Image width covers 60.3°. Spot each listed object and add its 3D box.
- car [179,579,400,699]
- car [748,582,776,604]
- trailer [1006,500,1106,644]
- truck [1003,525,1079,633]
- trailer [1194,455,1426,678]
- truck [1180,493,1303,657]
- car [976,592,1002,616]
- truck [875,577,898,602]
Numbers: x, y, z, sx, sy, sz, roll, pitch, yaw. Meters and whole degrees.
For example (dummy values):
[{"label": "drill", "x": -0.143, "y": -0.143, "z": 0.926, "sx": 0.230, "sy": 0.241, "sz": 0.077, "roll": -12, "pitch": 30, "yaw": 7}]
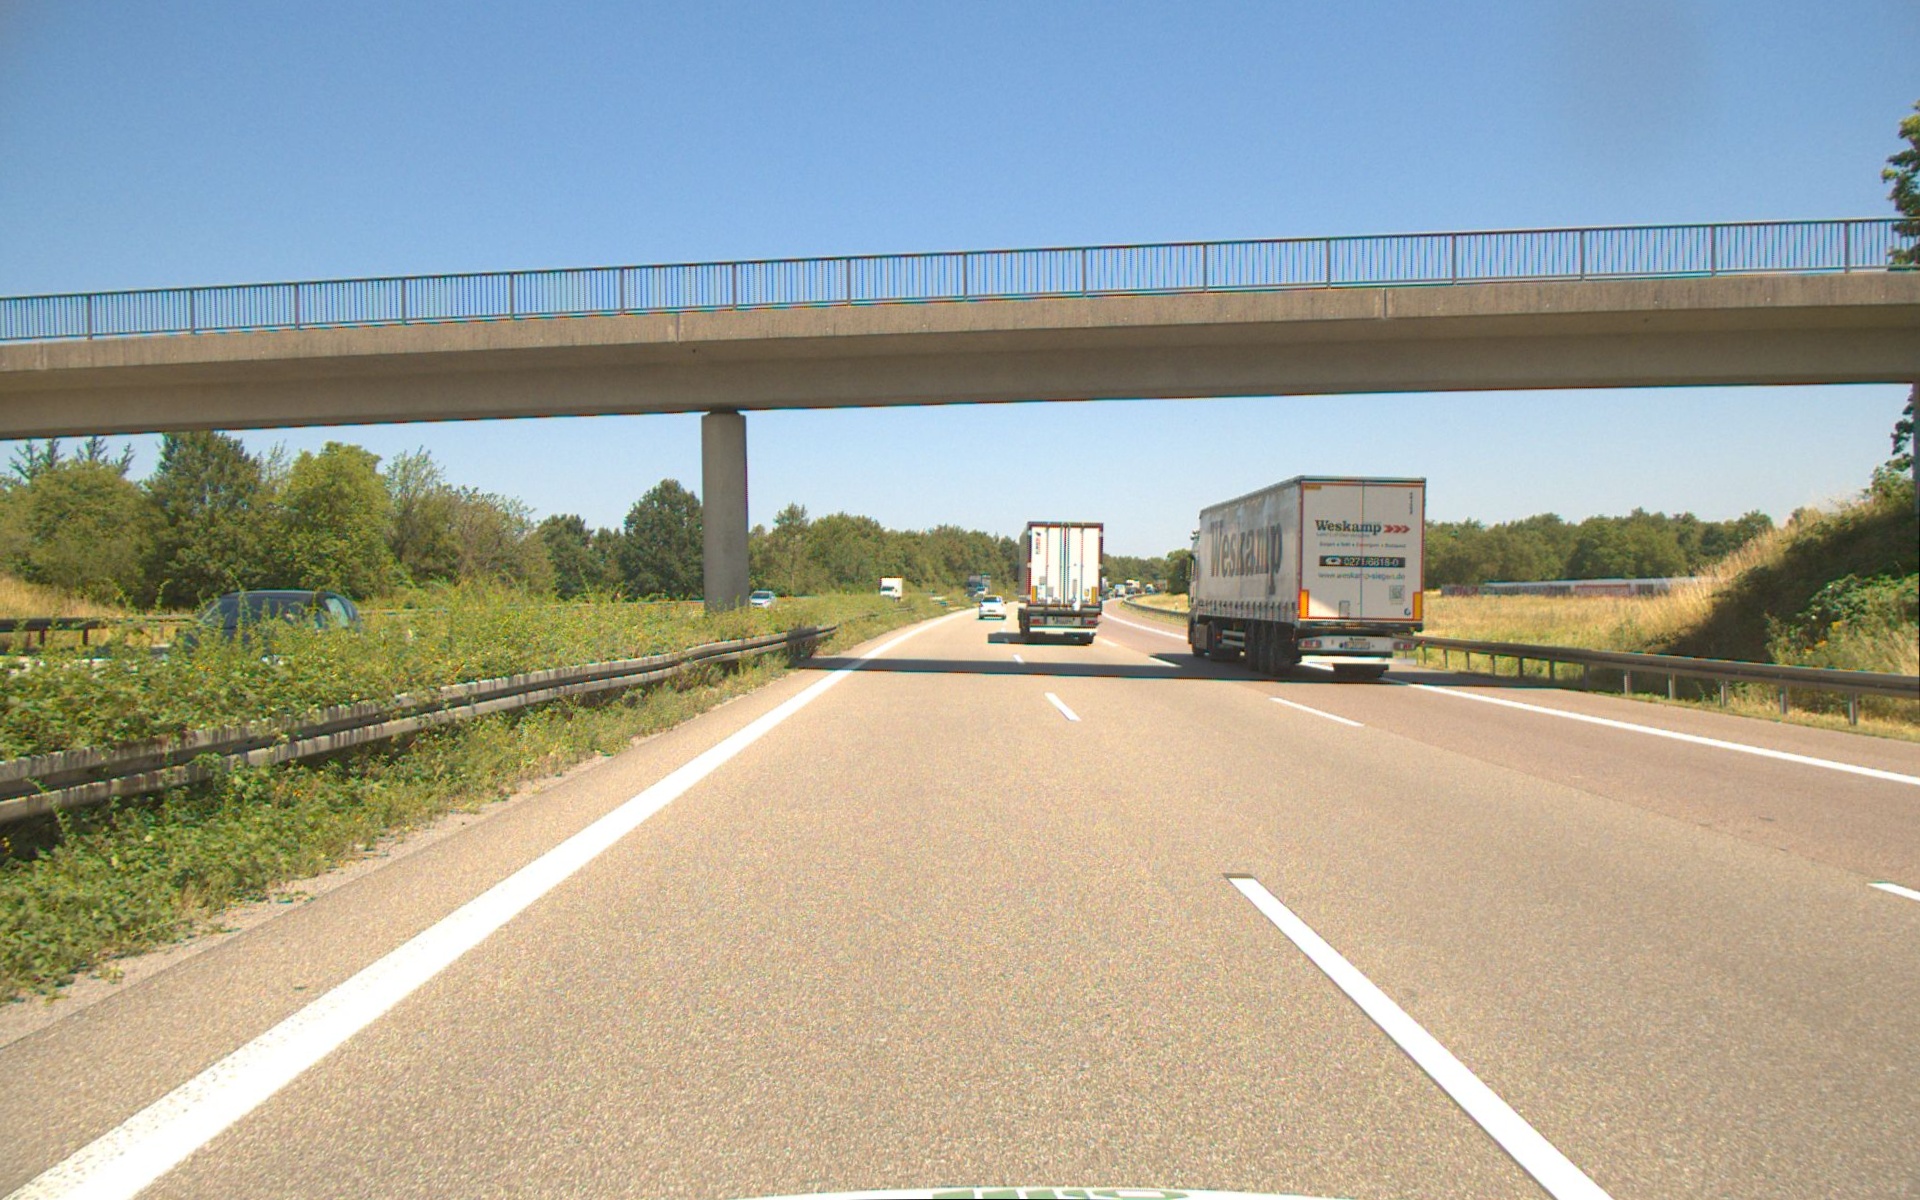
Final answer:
[{"label": "car", "x": -9.692, "y": 0.521, "z": 24.236, "sx": 1.676, "sy": 1.601, "sz": 3.999, "roll": 0, "pitch": 0, "yaw": -1}, {"label": "car", "x": -14.756, "y": -0.479, "z": 123.518, "sx": 1.676, "sy": 1.601, "sz": 4.402, "roll": 0, "pitch": 0, "yaw": -1}, {"label": "trailer", "x": 3.391, "y": -0.991, "z": 61.997, "sx": 2.842, "sy": 4.738, "sz": 13.985, "roll": 1, "pitch": 0, "yaw": 0}, {"label": "truck", "x": 3.361, "y": -0.874, "z": 69.728, "sx": 2.849, "sy": 4.330, "sz": 4.974, "roll": 1, "pitch": 0, "yaw": -1}, {"label": "trailer", "x": 7.831, "y": -0.655, "z": 39.289, "sx": 2.542, "sy": 4.326, "sz": 13.639, "roll": 1, "pitch": 0, "yaw": 0}, {"label": "truck", "x": 7.815, "y": -0.682, "z": 46.450, "sx": 2.547, "sy": 4.330, "sz": 5.089, "roll": 1, "pitch": 0, "yaw": 0}, {"label": "car", "x": 1.872, "y": 0.274, "z": 107.448, "sx": 1.594, "sy": 1.505, "sz": 4.000, "roll": 0, "pitch": 0, "yaw": 1}, {"label": "truck", "x": -9.409, "y": -1.319, "z": 212.081, "sx": 2.400, "sy": 3.153, "sz": 6.992, "roll": 0, "pitch": 0, "yaw": 2}]
